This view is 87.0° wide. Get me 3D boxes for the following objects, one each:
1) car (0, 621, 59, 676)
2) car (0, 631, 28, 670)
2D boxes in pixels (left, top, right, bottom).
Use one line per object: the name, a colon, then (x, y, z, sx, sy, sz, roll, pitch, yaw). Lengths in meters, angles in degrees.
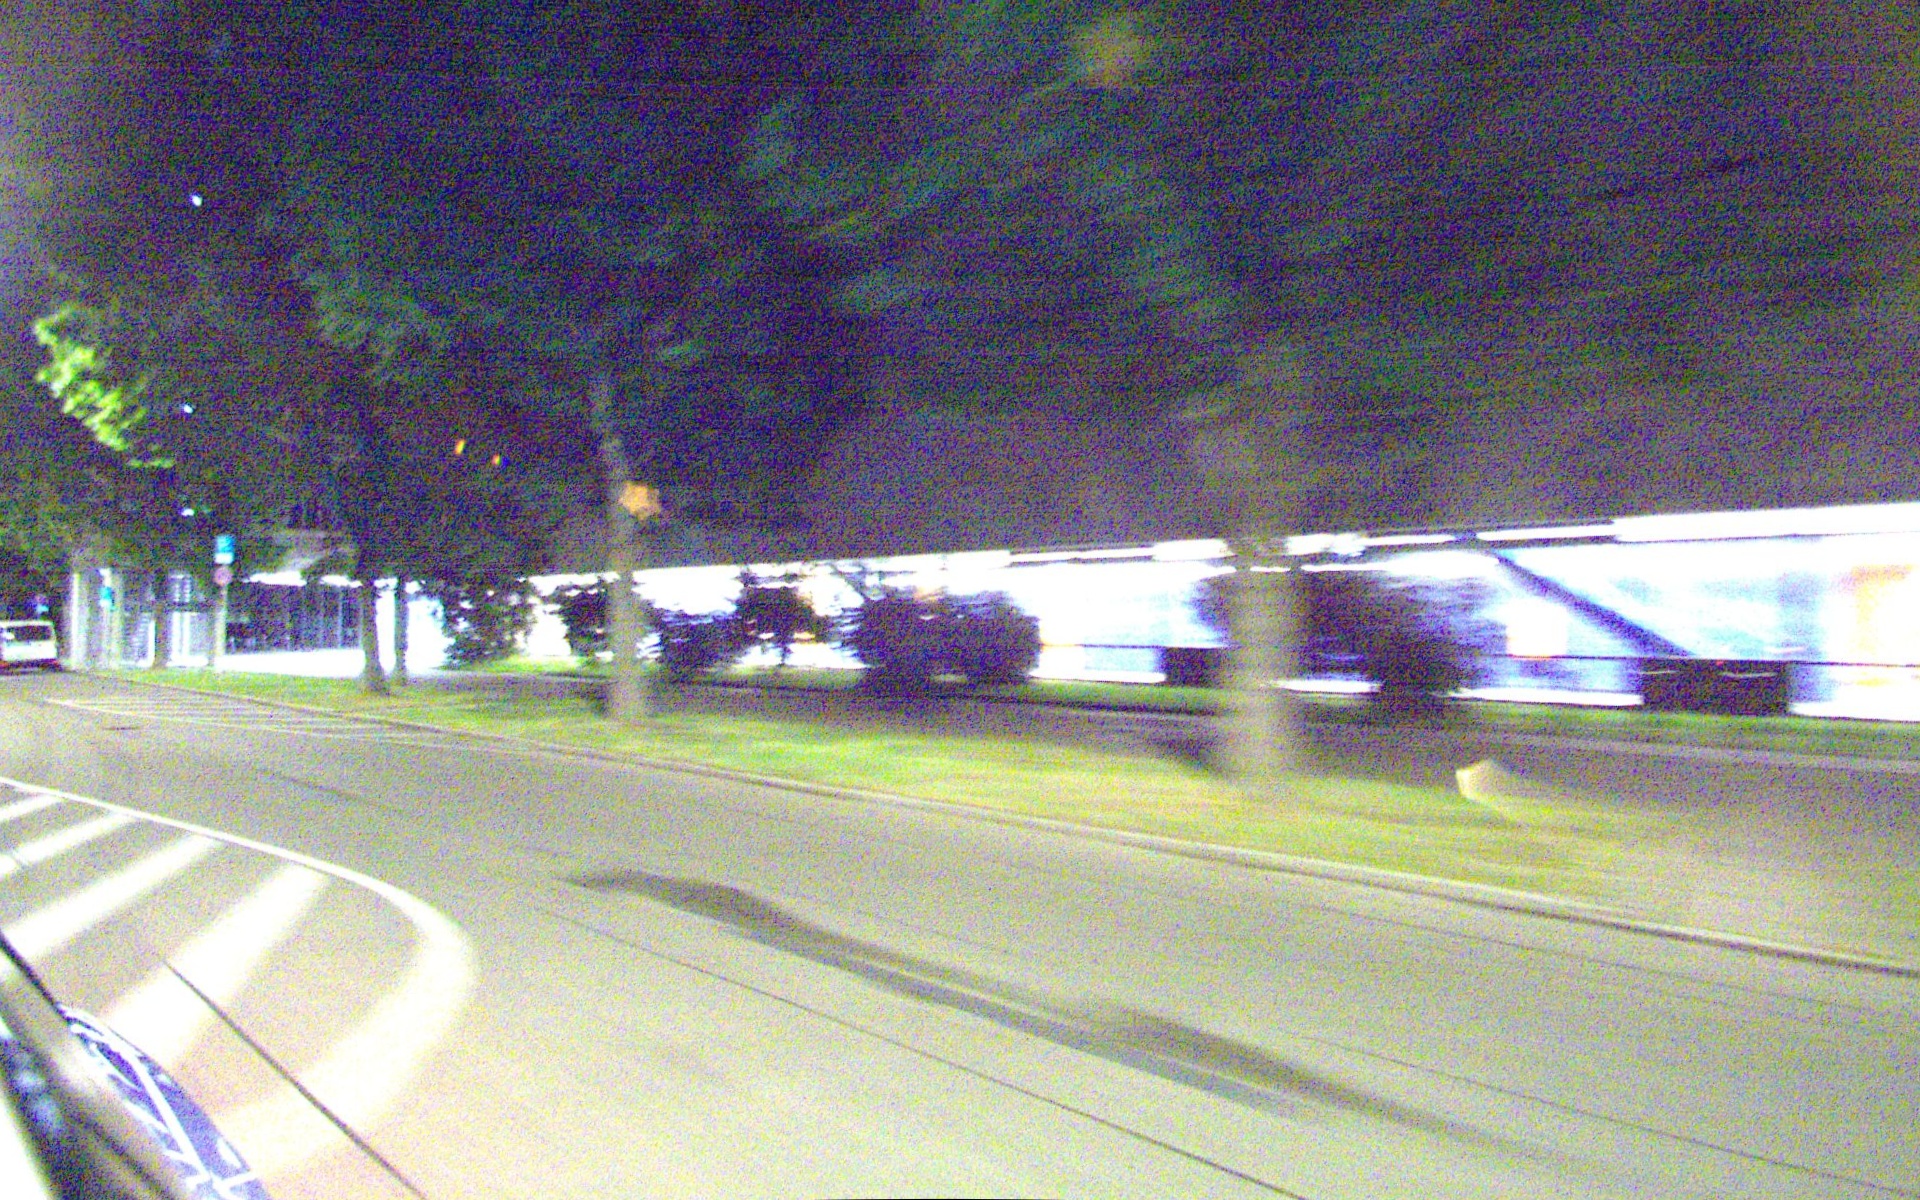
car: (-33.373, 1.693, 35.820, 3.731, 1.822, 1.858, -2, 0, 43)
car: (-37.890, 1.984, 39.602, 3.731, 1.443, 1.802, -2, 0, 43)
